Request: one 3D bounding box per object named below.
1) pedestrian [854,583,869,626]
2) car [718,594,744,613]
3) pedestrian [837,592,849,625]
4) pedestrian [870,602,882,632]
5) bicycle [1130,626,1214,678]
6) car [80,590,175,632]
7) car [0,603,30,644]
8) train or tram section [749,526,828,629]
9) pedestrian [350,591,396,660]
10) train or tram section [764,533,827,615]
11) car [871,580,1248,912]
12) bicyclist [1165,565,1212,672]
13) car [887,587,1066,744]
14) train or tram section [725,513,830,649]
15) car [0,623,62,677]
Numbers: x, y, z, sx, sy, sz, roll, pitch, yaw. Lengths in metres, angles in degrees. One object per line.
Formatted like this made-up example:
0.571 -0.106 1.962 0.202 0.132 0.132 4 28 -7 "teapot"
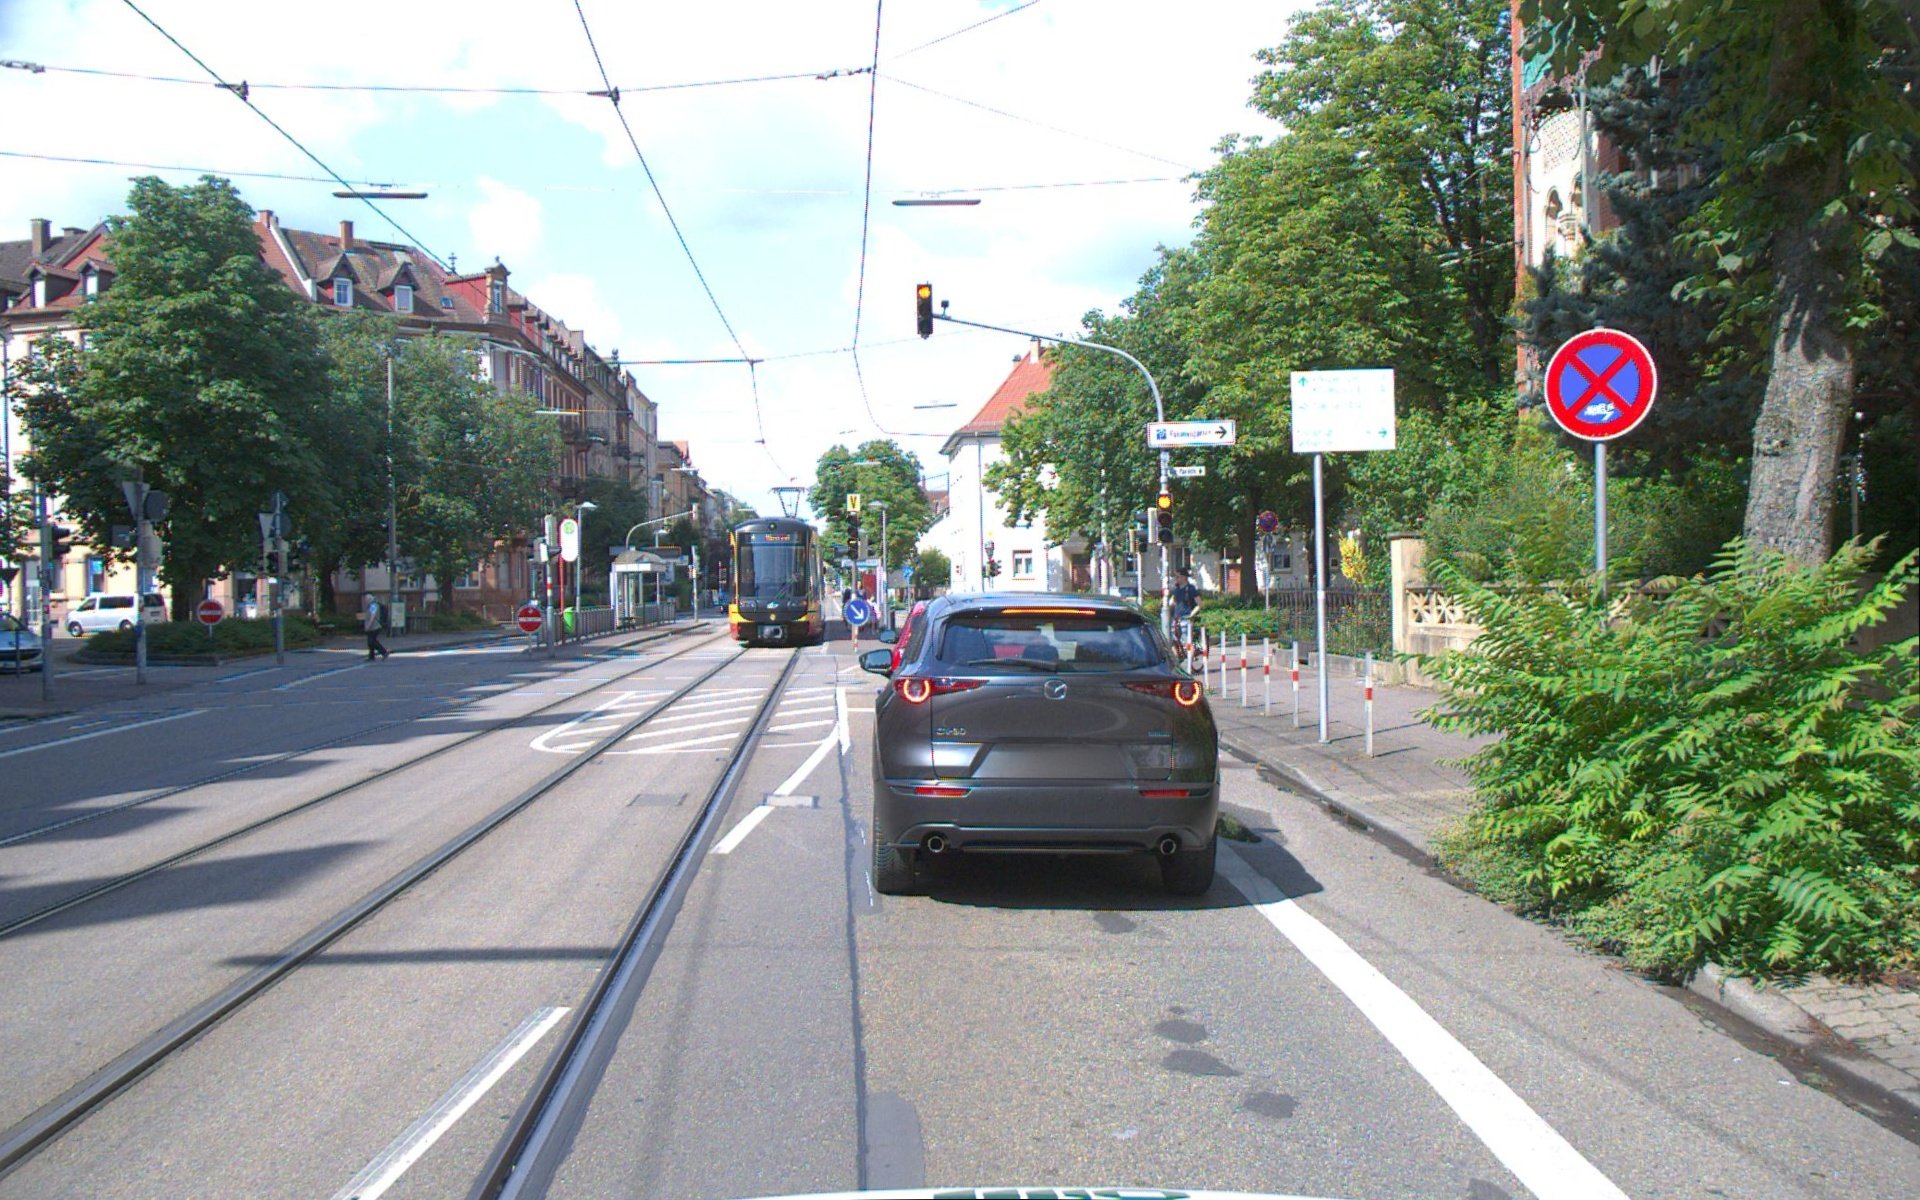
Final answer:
-3.337 0.148 56.078 0.441 1.459 0.474 -1 0 -6 "pedestrian"
-16.583 0.265 119.729 1.583 1.333 3.624 -1 0 -4 "car"
-3.988 0.290 56.245 0.372 1.089 0.474 -1 0 -5 "pedestrian"
-2.846 0.575 56.260 0.372 1.001 0.474 -1 0 -6 "pedestrian"
3.725 0.900 28.930 1.685 0.838 0.487 -1 0 -43 "bicycle"
-39.643 0.525 78.773 3.906 1.937 1.999 -1 0 23 "car"
-39.632 0.967 65.995 3.906 1.624 2.000 -1 0 -1 "car"
-6.620 -0.957 65.351 2.699 3.551 14.395 -1 1 -5 "train or tram section"
-14.869 0.644 41.933 0.805 1.735 0.719 -1 0 24 "pedestrian"
-7.820 -1.293 79.667 2.699 3.551 14.395 -1 1 -5 "train or tram section"
0.425 0.669 9.729 1.742 1.526 3.999 1 0 -1 "car"
3.942 0.313 28.580 0.597 1.824 0.656 -1 0 -11 "bicyclist"
0.119 0.631 18.330 1.742 1.526 3.999 1 0 -1 "car"
-5.429 -0.660 50.987 2.699 3.551 14.395 -1 1 -5 "train or tram section"
-23.166 1.167 39.181 3.916 1.203 1.674 -1 0 33 "car"
